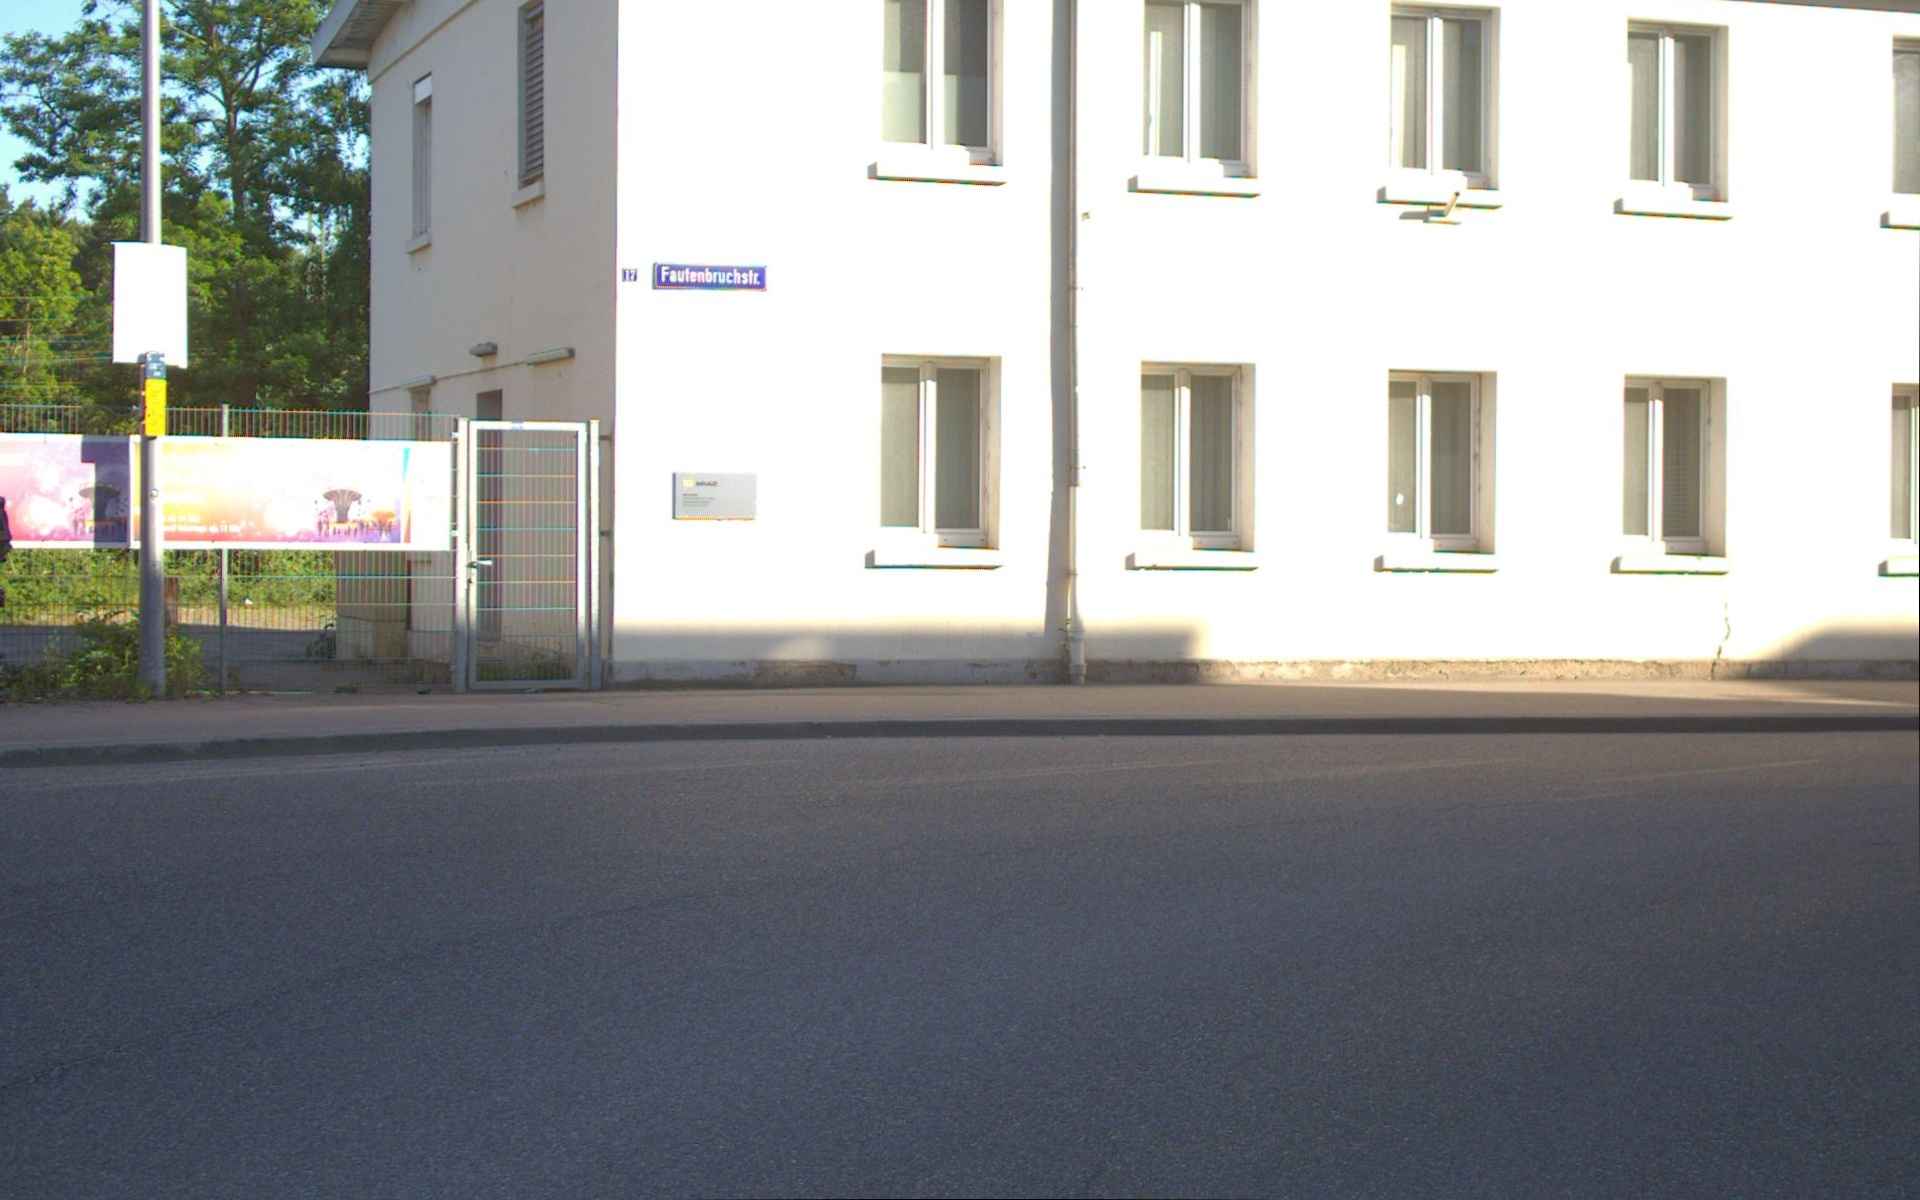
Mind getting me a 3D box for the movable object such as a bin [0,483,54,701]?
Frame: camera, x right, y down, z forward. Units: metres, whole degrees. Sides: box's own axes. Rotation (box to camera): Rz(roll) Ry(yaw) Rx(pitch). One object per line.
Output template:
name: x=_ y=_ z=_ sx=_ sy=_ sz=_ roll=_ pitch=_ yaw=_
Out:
movable object such as a bin: x=-7.021 y=-0.063 z=23.408 sx=1.368 sy=1.466 sz=1.203 roll=-1 pitch=2 yaw=-30
